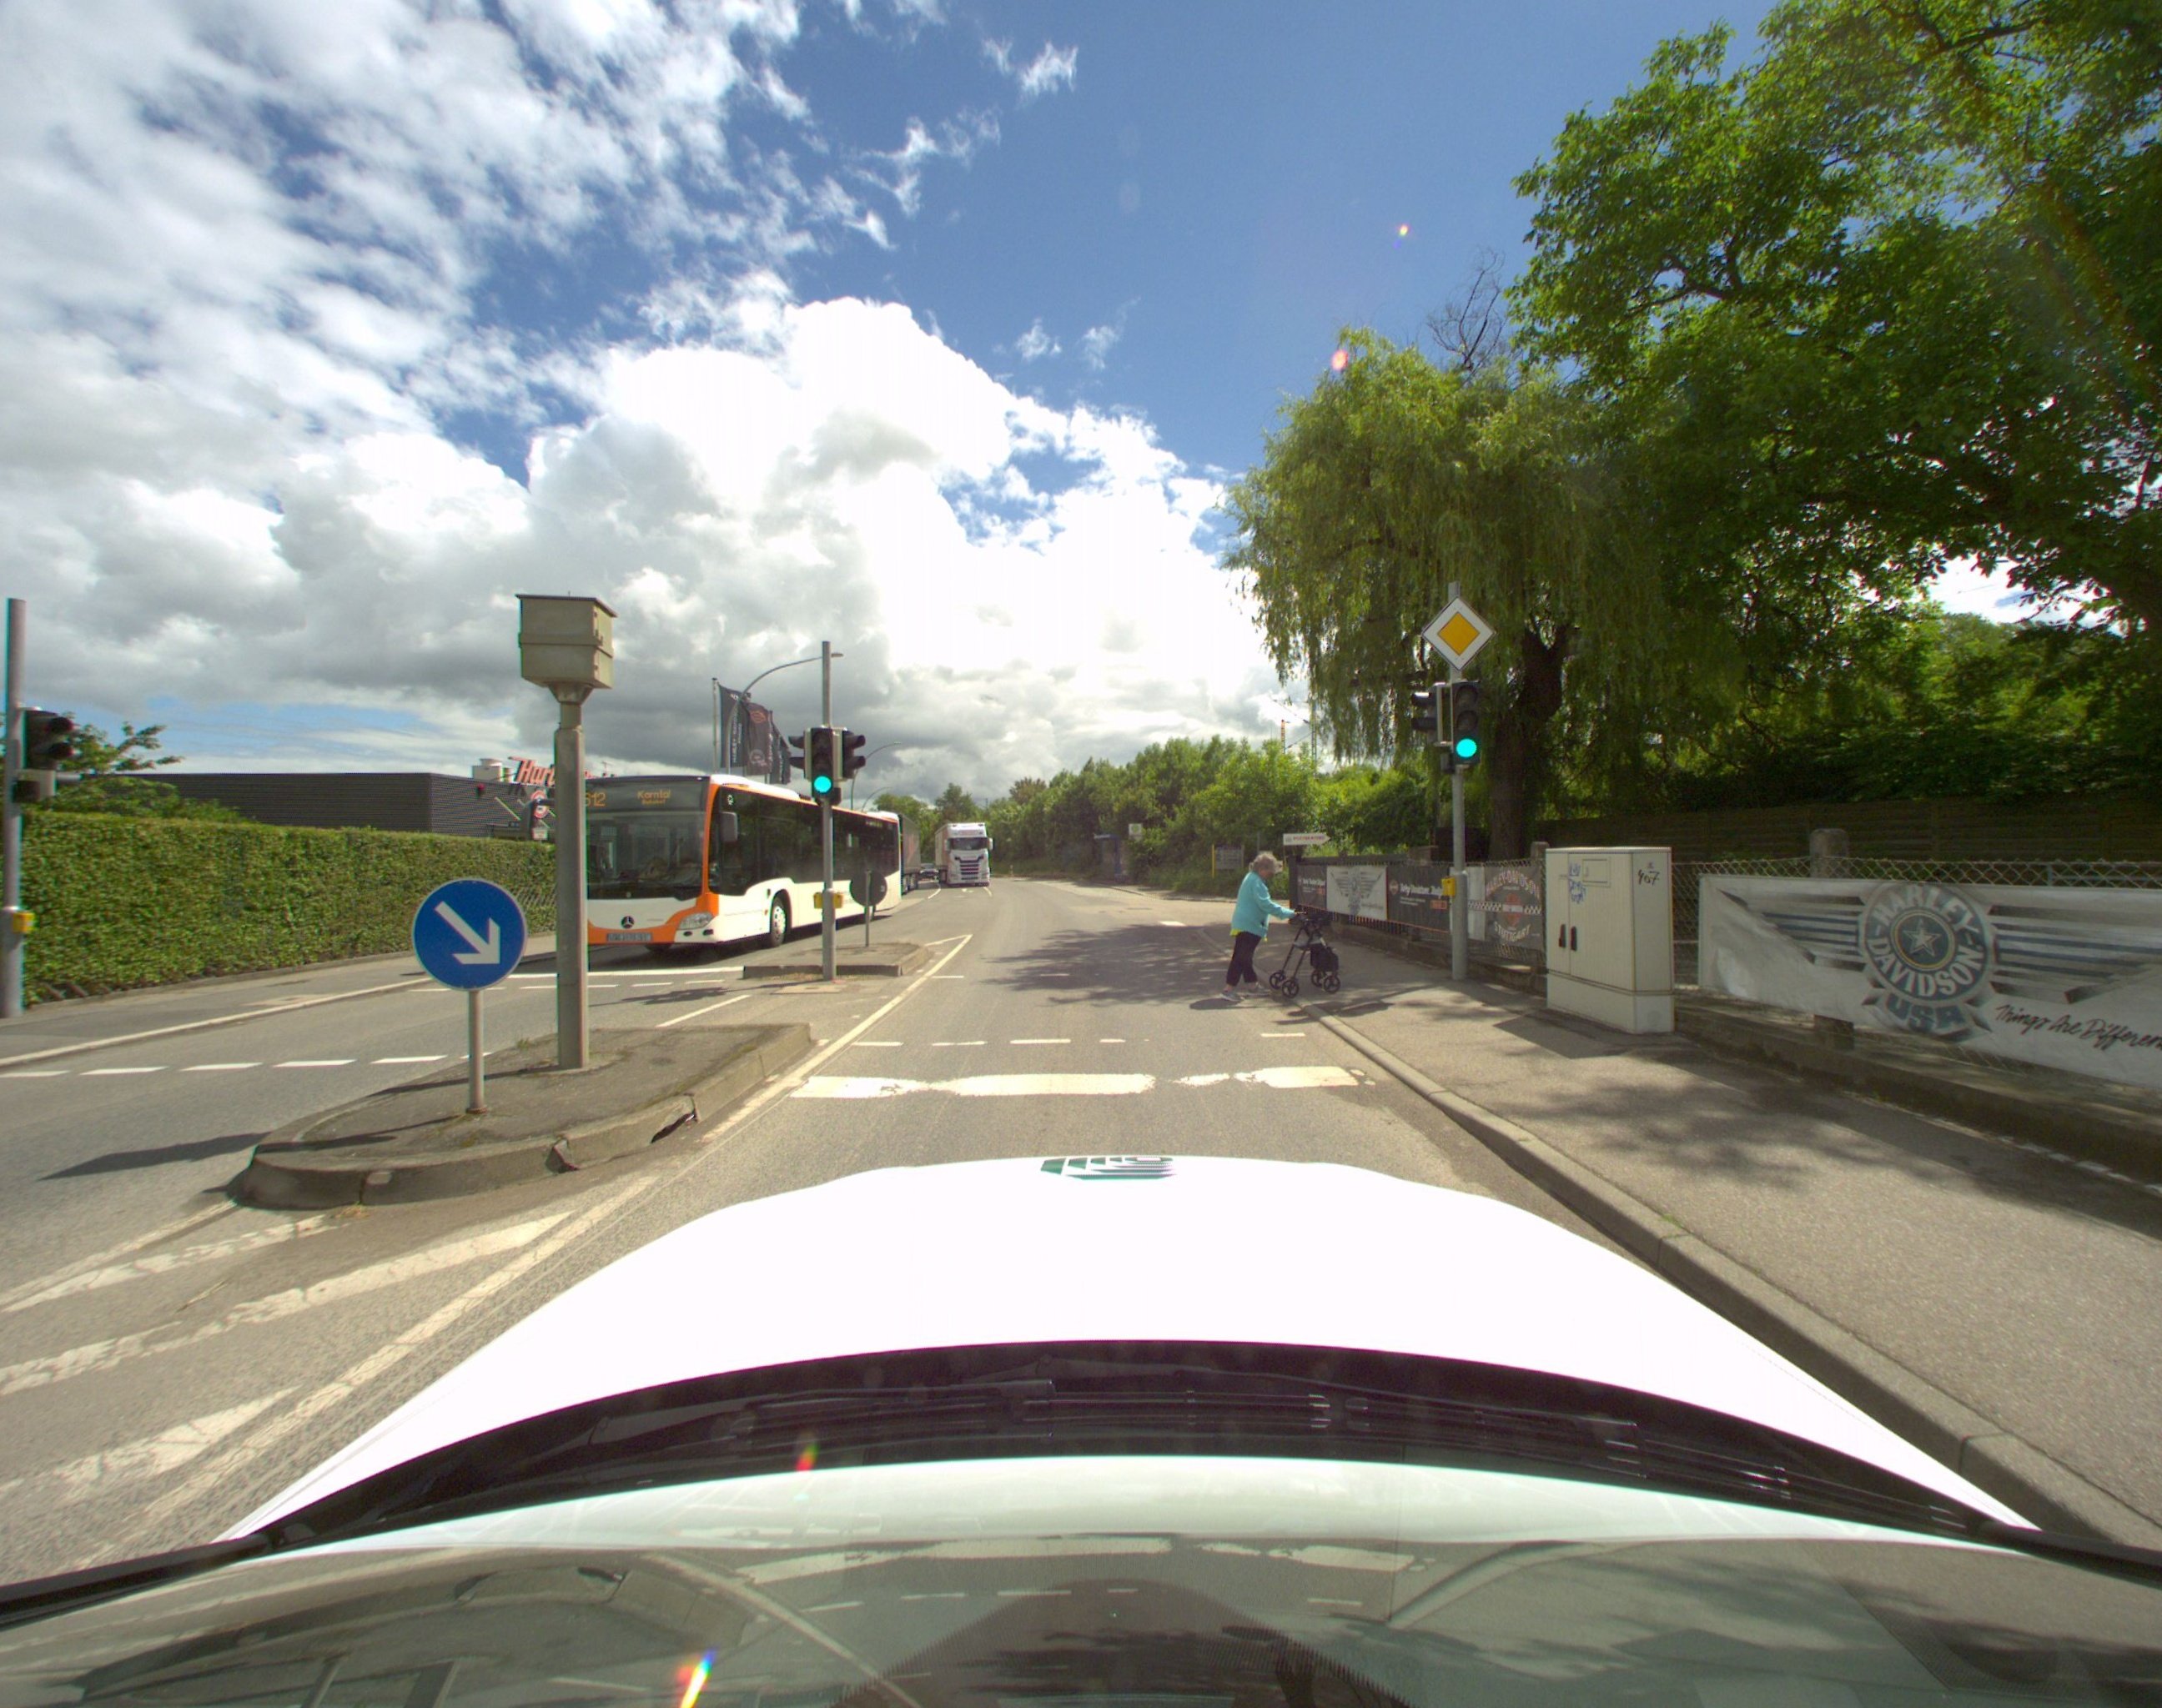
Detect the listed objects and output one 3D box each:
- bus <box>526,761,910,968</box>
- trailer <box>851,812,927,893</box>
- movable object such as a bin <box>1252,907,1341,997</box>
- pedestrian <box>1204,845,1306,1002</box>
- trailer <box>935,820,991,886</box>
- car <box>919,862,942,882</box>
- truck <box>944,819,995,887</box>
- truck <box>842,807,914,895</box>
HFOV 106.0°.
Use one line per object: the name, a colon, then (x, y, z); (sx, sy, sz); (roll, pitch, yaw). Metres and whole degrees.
bus: (-6.743, 0.247, 18.328); (2.708, 3.031, 12.270); (-2, -1, 2)
trailer: (-11.000, 0.043, 48.197); (2.797, 4.053, 15.512); (0, -1, -8)
movable object such as a bin: (2.270, 1.018, 8.641); (0.744, 0.872, 0.670); (0, -1, -2)
pedestrian: (1.819, 0.708, 8.611); (0.836, 1.543, 0.733); (-3, -1, -2)
trailer: (-8.772, 0.042, 58.816); (2.774, 4.145, 15.280); (0, -1, -13)
car: (-13.779, 1.622, 74.438); (1.995, 1.706, 3.982); (0, -1, -13)
truck: (-7.191, -0.005, 51.990); (2.774, 4.119, 4.963); (0, -1, -13)
truck: (-10.039, -0.080, 40.853); (2.797, 4.053, 6.483); (0, -1, -8)
